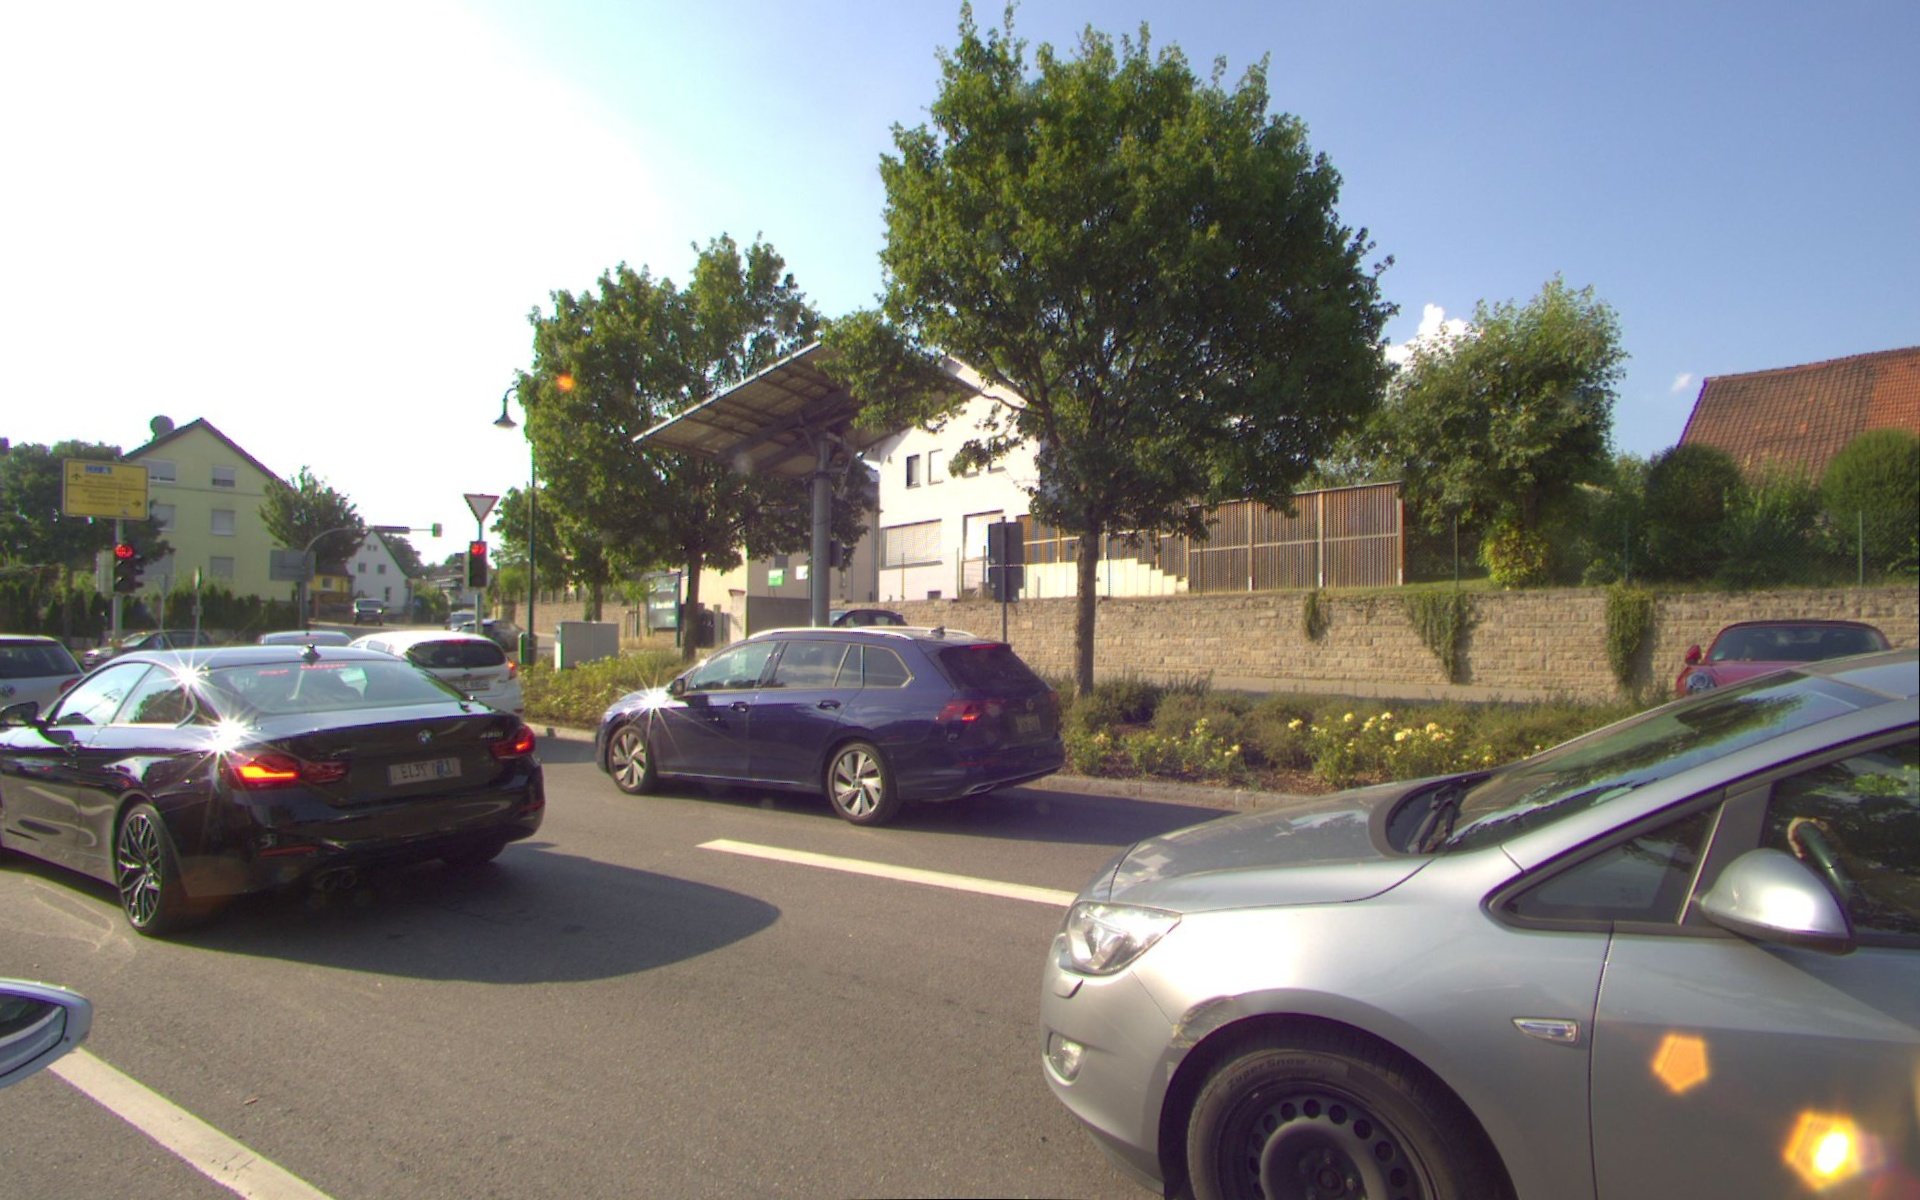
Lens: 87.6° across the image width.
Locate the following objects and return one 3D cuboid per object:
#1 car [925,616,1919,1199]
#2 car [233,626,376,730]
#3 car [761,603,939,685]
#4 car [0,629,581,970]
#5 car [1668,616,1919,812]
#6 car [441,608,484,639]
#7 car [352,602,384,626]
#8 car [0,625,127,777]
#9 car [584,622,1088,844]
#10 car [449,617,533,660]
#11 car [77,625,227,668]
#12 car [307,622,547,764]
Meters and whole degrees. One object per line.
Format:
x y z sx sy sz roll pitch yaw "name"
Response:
2.178 0.780 2.165 4.256 1.472 1.758 -1 0 31 "car"
-11.748 1.269 17.818 1.643 1.562 4.362 -1 0 -40 "car"
-2.372 0.959 22.301 1.758 1.653 3.800 -1 -2 40 "car"
-4.430 0.912 6.189 4.220 1.416 1.758 -1 0 33 "car"
8.230 0.949 9.748 1.758 1.510 4.120 -1 -2 41 "car"
-28.422 1.371 57.126 1.823 1.662 4.406 1 -2 -32 "car"
-44.411 1.073 75.051 1.824 1.761 4.756 1 -2 -33 "car"
-10.800 1.010 10.783 3.848 1.444 1.758 -1 0 33 "car"
-1.191 0.948 8.709 4.259 1.472 1.757 -1 0 34 "car"
-20.007 1.607 42.901 1.933 1.701 4.214 0 -1 -6 "car"
-30.066 1.716 37.368 1.821 1.508 3.983 -1 -2 30 "car"
-6.912 1.079 12.891 3.278 1.562 1.611 -1 0 40 "car"
